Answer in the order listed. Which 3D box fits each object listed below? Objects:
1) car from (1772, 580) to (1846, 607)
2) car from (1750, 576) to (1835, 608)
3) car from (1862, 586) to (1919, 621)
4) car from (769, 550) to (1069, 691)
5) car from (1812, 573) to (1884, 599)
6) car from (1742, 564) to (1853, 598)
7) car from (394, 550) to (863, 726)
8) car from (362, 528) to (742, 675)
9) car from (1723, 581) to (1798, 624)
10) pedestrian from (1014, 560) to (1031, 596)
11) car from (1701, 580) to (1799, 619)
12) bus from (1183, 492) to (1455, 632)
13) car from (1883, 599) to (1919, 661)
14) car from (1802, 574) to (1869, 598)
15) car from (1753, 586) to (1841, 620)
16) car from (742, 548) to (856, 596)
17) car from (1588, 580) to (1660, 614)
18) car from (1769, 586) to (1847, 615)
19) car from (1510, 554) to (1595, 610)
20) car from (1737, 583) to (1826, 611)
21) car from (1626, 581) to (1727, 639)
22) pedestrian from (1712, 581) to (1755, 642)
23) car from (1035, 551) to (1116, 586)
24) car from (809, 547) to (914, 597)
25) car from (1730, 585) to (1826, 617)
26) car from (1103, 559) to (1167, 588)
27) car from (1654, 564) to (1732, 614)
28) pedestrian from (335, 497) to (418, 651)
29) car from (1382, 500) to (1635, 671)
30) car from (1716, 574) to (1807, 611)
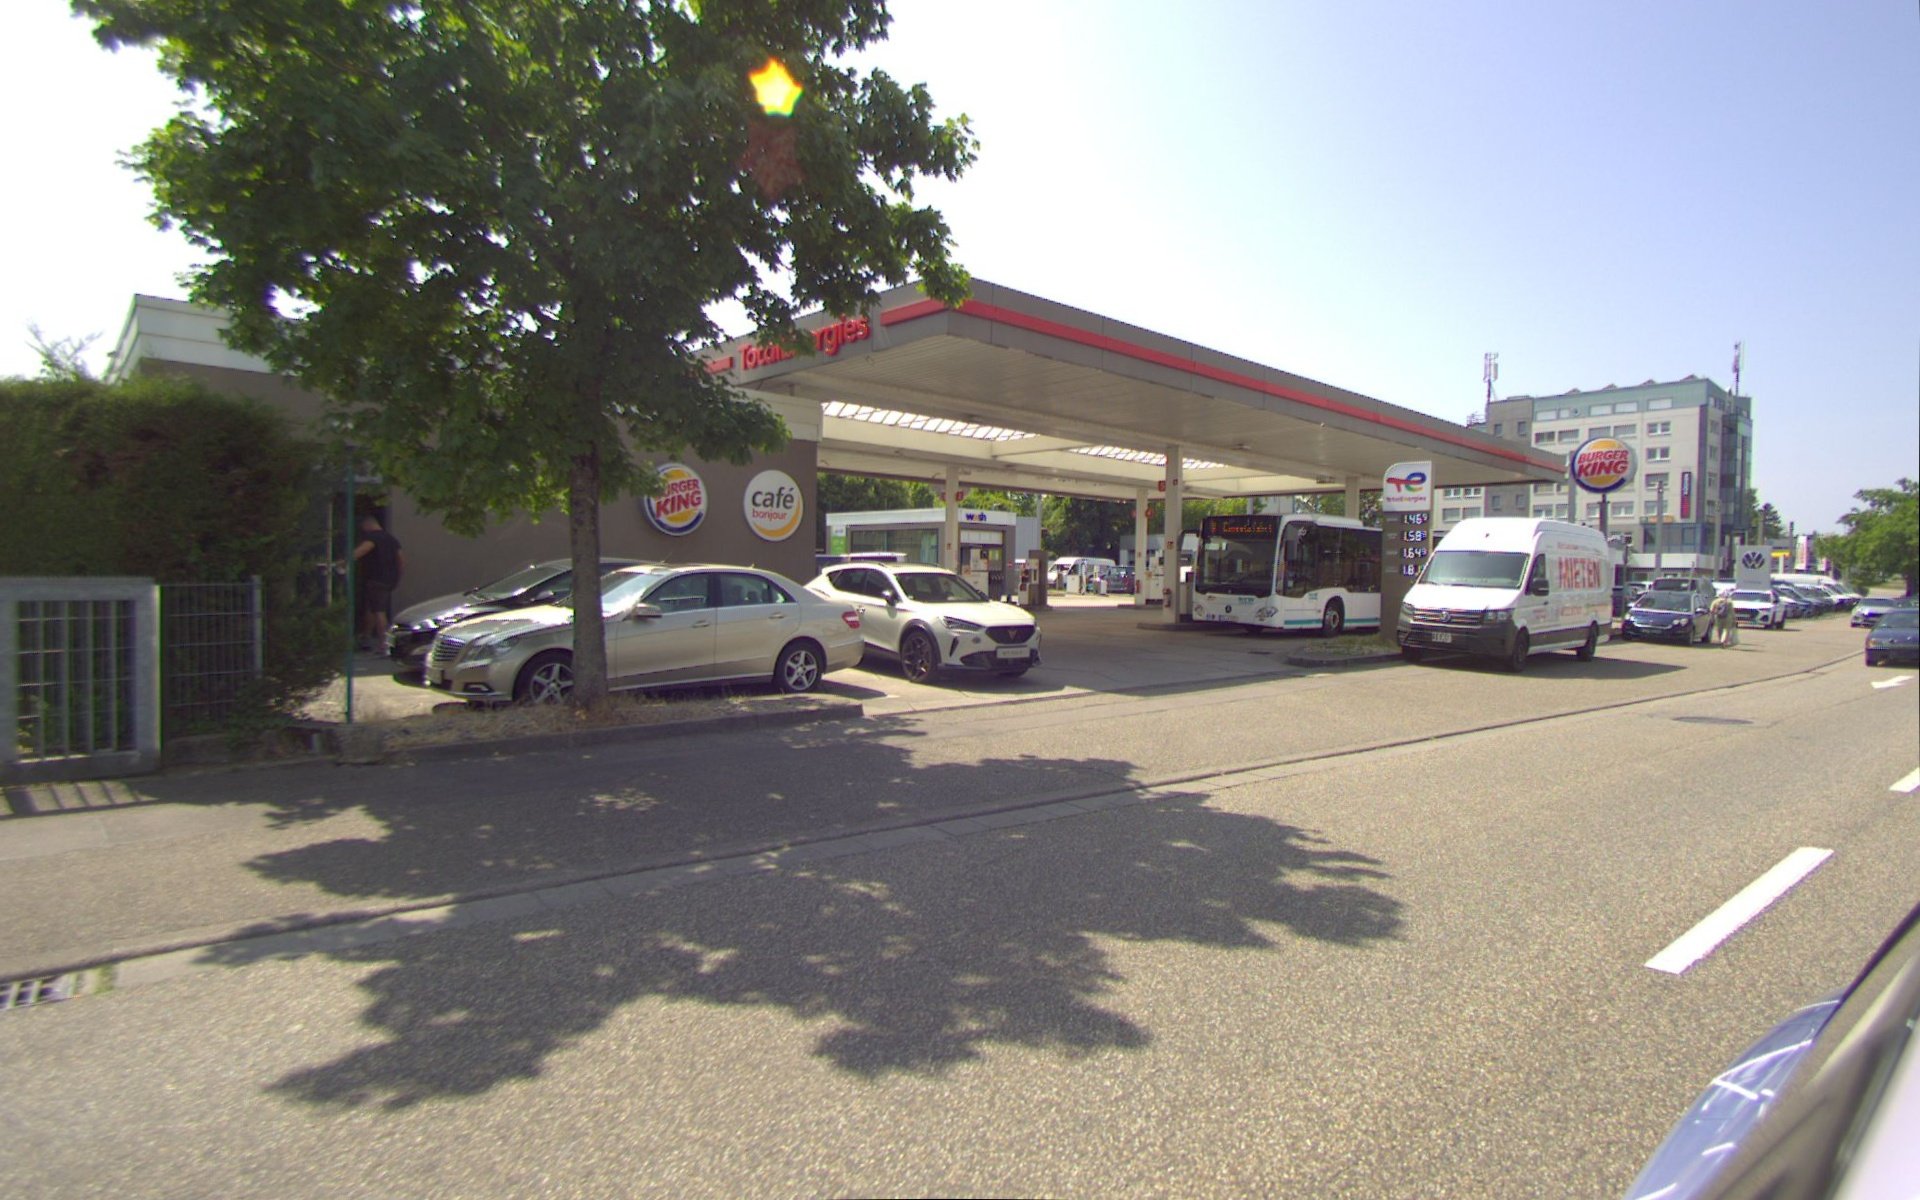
[{"bbox_3d":[61.117,-0.514,72.857,3.986,1.787,1.699,3,2,43],"label":"car"},{"bbox_3d":[52.026,-0.512,63.295,3.986,1.808,1.699,3,2,43],"label":"car"},{"bbox_3d":[44.928,0.128,48.739,3.934,1.578,1.864,-1,3,-44],"label":"car"},{"bbox_3d":[-0.771,0.161,14.669,1.873,1.545,4.634,0,4,-40],"label":"car"},{"bbox_3d":[66.423,-1.038,75.737,3.986,1.787,1.699,3,2,43],"label":"car"},{"bbox_3d":[70.048,-1.651,84.819,1.693,2.636,6.890,0,2,-36],"label":"car"},{"bbox_3d":[-3.429,0.280,11.112,4.561,1.484,1.796,-1,4,-44],"label":"car"},{"bbox_3d":[-5.166,-0.052,13.155,4.182,1.555,1.903,-1,4,-44],"label":"car"},{"bbox_3d":[33.215,0.074,41.959,3.933,1.600,1.858,-1,4,-43],"label":"car"},{"bbox_3d":[2.841,-1.000,45.952,0.484,1.601,0.572,0,2,-38],"label":"pedestrian"},{"bbox_3d":[42.499,-0.065,54.506,3.986,1.942,1.699,3,2,43],"label":"car"},{"bbox_3d":[9.832,-0.938,27.036,8.919,3.191,2.755,0,2,-41],"label":"bus"},{"bbox_3d":[23.156,0.682,24.007,3.694,1.356,1.629,0,1,-44],"label":"car"},{"bbox_3d":[69.734,-1.119,80.652,3.986,1.787,1.699,3,2,43],"label":"car"},{"bbox_3d":[50.835,0.145,61.512,3.986,1.871,1.699,3,2,43],"label":"car"},{"bbox_3d":[-6.506,-1.154,41.094,4.252,1.825,1.714,1,2,8],"label":"car"},{"bbox_3d":[29.562,-0.165,44.988,3.933,1.393,1.805,-1,3,-44],"label":"car"},{"bbox_3d":[57.672,0.015,68.874,3.986,1.787,1.699,3,2,43],"label":"car"},{"bbox_3d":[27.779,-0.867,47.339,5.485,2.465,2.054,-1,2,-45],"label":"car"},{"bbox_3d":[48.540,-0.214,59.852,3.986,1.467,1.699,3,3,43],"label":"car"},{"bbox_3d":[20.750,0.251,29.261,3.778,1.466,1.678,-1,4,-44],"label":"car"},{"bbox_3d":[21.327,0.299,27.900,0.806,1.600,0.703,0,4,-42],"label":"pedestrian"},{"bbox_3d":[8.023,-2.163,69.857,6.280,2.265,1.995,0,2,-45],"label":"car"},{"bbox_3d":[-4.162,-1.211,43.148,4.154,2.018,1.715,1,2,7],"label":"car"},{"bbox_3d":[45.082,0.007,55.832,3.986,1.597,1.699,3,2,43],"label":"car"},{"bbox_3d":[11.367,-1.717,65.533,4.135,1.780,1.977,0,2,-43],"label":"car"},{"bbox_3d":[31.636,-0.493,43.668,3.933,2.038,1.996,-1,2,-44],"label":"car"},{"bbox_3d":[-7.972,-0.349,13.858,0.803,2.039,0.705,0,0,-10],"label":"pedestrian"},{"bbox_3d":[10.984,-0.338,19.894,7.157,2.807,2.180,-1,4,-44],"label":"car"},{"bbox_3d":[46.230,-0.450,58.437,3.986,1.941,1.699,3,2,43],"label":"car"}]
